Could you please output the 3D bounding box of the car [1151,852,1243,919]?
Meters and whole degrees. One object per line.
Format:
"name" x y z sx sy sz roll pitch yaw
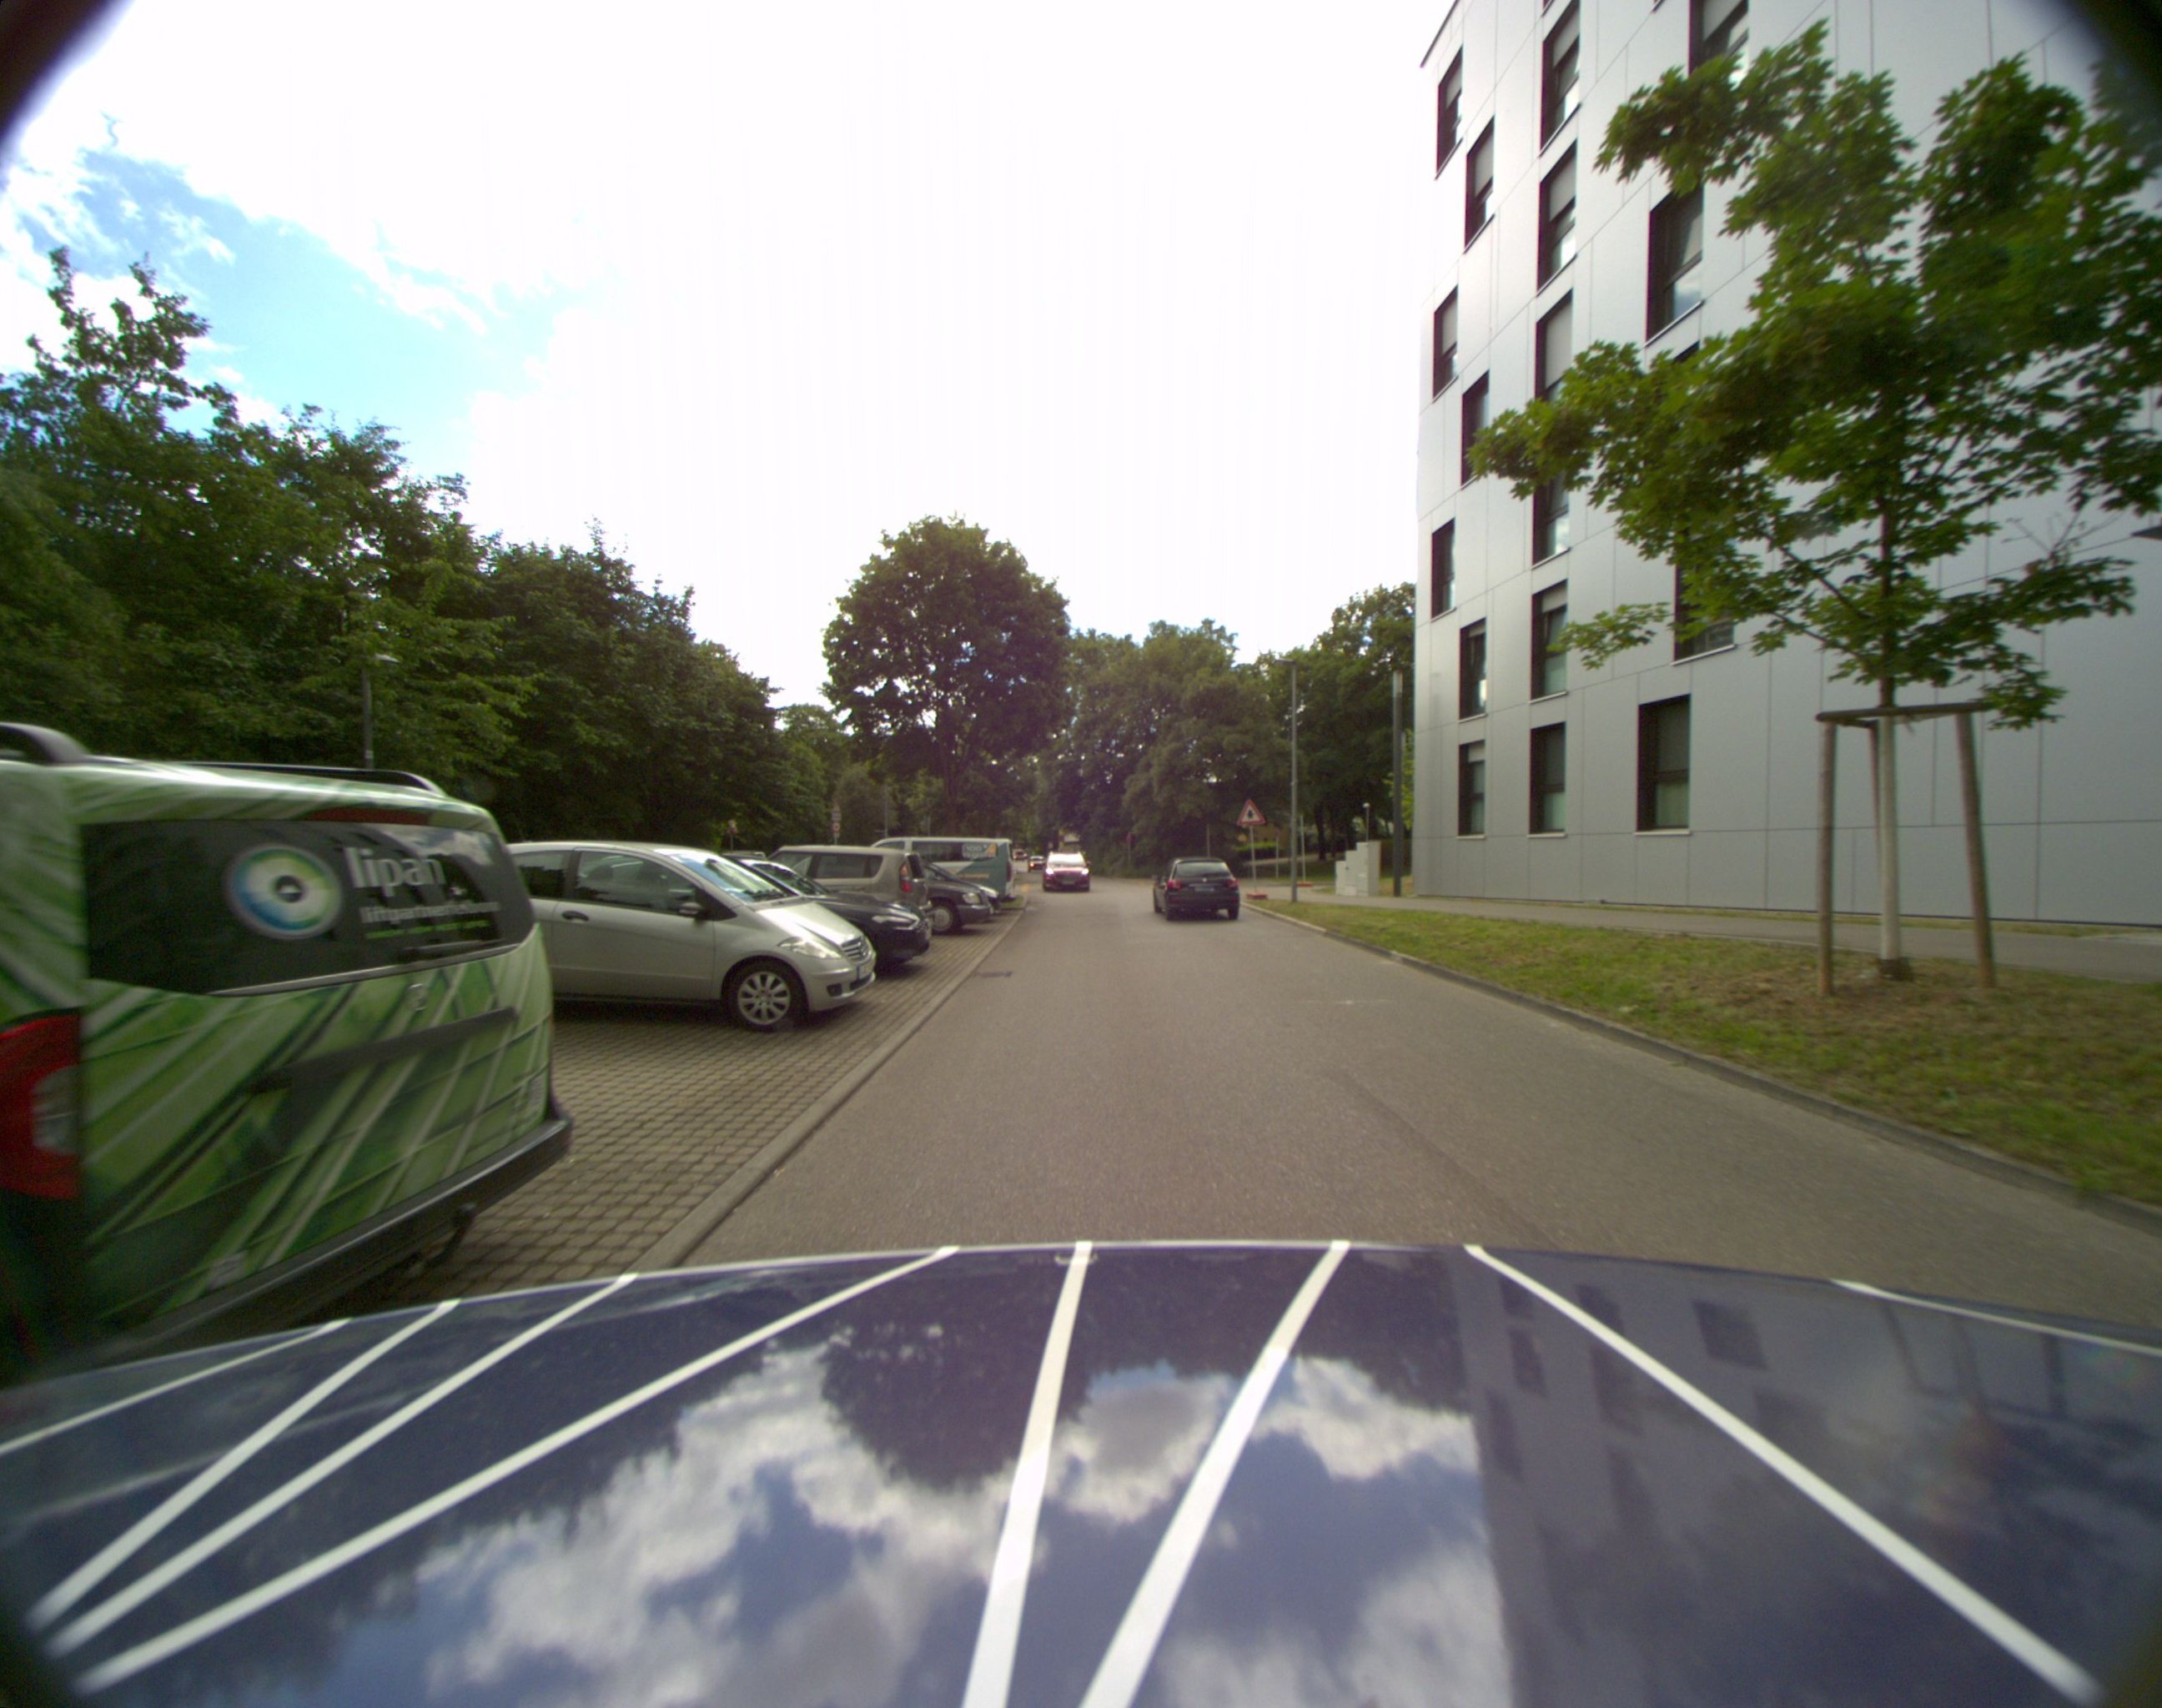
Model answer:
"car" 2.711 0.678 18.477 1.613 1.380 3.999 -2 1 0

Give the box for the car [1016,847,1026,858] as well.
"car" -13.792 -0.394 173.652 2.138 2.461 6.274 -2 0 -4

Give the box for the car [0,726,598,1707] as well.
"car" -4.227 0.656 2.204 4.390 1.893 1.916 1 1 -1

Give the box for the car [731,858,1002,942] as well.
"car" -4.058 0.846 14.994 4.735 1.426 2.057 1 0 0

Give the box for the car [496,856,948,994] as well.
"car" -4.226 0.825 9.694 4.739 1.490 2.110 1 1 -4

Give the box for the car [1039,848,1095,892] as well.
"car" -0.685 0.613 32.485 1.919 1.707 5.035 -1 1 -6

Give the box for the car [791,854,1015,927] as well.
"car" -3.975 0.803 17.546 4.716 1.507 1.846 1 1 -1

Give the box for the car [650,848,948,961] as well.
"car" -4.371 0.757 12.284 4.076 1.600 1.891 1 1 -1

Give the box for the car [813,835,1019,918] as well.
"car" -4.133 0.568 19.750 4.987 1.961 1.846 1 1 -5

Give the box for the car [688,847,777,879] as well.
"car" -18.109 0.451 39.570 3.788 1.659 1.767 0 1 2

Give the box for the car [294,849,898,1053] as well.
"car" -4.156 0.788 7.115 4.390 1.568 1.916 1 1 -1

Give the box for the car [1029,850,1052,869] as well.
"car" -3.947 0.521 72.611 1.919 1.707 5.035 -1 1 -6

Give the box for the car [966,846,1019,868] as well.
"car" -8.472 0.280 73.091 4.969 2.002 2.165 2 0 -5
